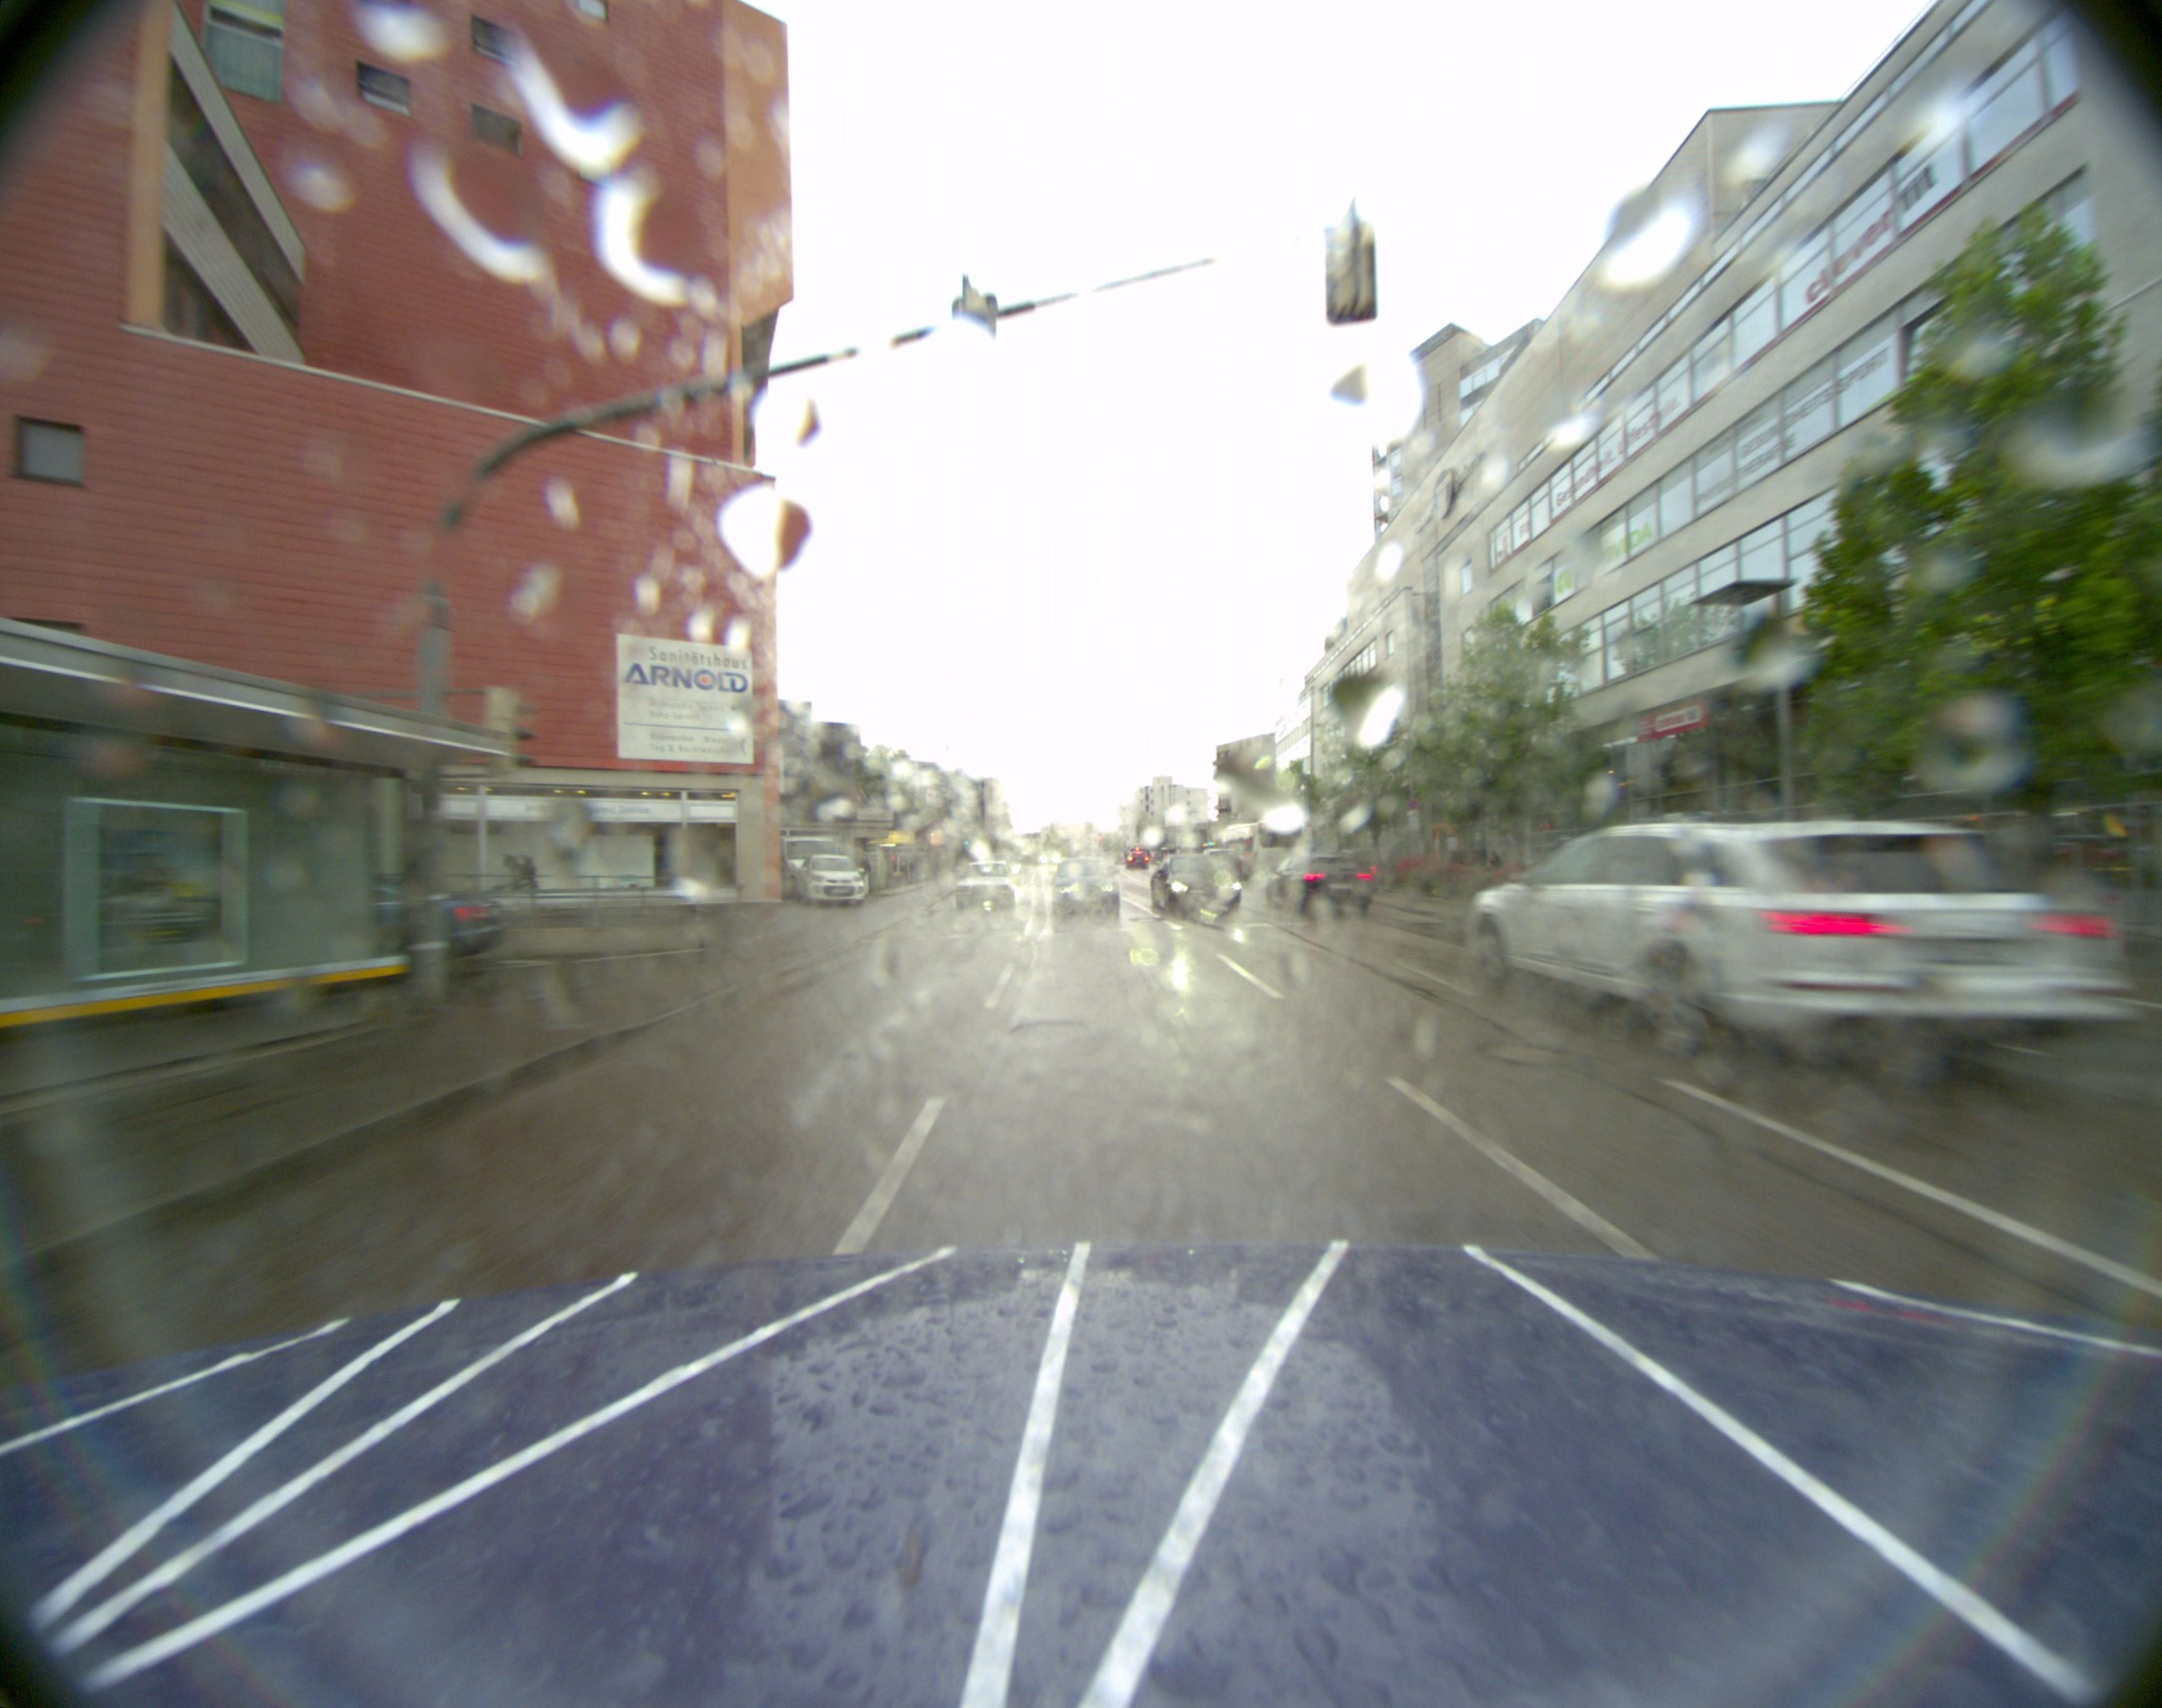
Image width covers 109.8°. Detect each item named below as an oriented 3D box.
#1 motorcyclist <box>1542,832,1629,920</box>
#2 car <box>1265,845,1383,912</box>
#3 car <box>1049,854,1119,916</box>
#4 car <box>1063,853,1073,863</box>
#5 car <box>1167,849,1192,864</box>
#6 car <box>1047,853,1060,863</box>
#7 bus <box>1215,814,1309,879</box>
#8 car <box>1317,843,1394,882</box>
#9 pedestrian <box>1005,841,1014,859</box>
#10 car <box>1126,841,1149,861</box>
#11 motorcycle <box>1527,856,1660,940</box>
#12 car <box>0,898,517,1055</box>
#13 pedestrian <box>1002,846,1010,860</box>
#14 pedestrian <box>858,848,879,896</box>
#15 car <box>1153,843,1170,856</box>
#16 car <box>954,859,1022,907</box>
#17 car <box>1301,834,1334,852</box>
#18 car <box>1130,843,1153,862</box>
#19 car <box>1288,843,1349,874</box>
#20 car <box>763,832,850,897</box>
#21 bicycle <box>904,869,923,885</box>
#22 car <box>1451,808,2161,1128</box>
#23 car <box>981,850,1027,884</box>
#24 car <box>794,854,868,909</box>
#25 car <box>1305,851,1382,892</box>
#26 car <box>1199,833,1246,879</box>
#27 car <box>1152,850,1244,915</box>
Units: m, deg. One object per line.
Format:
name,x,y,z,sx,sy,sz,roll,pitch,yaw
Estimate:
motorcyclist,8.714,0.359,13.177,0.787,1.448,1.140,-1,1,3
car,5.869,0.525,18.920,1.762,1.426,4.380,-1,1,3
car,0.092,0.763,20.578,1.688,1.373,3.793,-2,1,1
car,-1.866,0.511,108.182,1.394,1.316,2.861,-1,1,1
car,9.023,0.209,70.025,1.901,1.249,4.194,-1,1,1
car,-3.408,0.445,94.126,1.326,1.178,2.823,-1,1,3
bus,9.762,-0.481,42.543,2.899,3.081,11.998,-1,1,2
car,12.073,0.312,33.715,1.998,1.587,3.999,-1,1,1
pedestrian,-7.404,-0.439,78.860,0.687,1.793,0.797,2,2,8
car,5.371,-0.325,72.405,1.867,1.780,3.999,1,1,0
motorcycle,8.734,0.702,13.098,0.909,1.276,2.185,-1,1,3
car,-9.941,1.373,9.535,4.407,1.403,1.732,0,0,-30
pedestrian,-7.650,-0.097,77.650,0.687,1.372,0.772,2,2,8
pedestrian,-7.774,0.652,27.795,0.594,1.756,0.600,-1,0,-4
car,8.884,-0.479,84.080,1.569,1.367,3.282,0,1,2
car,-2.905,0.884,24.527,1.662,1.300,3.994,-1,1,1
car,19.262,-0.900,61.998,1.757,1.402,3.730,-1,1,3
car,5.098,-0.177,64.153,1.711,1.508,4.391,-1,1,1
car,12.243,0.183,39.491,1.830,1.439,4.475,-1,1,1
car,-10.355,0.483,28.407,2.011,2.195,4.864,1,-3,-33
bicycle,-10.502,1.433,47.590,0.532,0.932,1.572,1,0,-39
car,5.375,0.565,6.498,2.104,1.702,4.848,-1,1,1
car,-4.125,0.664,41.511,2.058,1.638,4.479,-1,1,-1
car,-7.577,0.751,22.883,1.618,1.453,3.416,-2,1,-26
car,9.451,0.586,27.614,1.644,1.330,3.601,-1,1,2
car,6.568,0.058,35.586,1.637,2.002,4.285,-1,1,4
car,2.957,0.660,20.004,1.720,1.442,4.197,-1,1,-1
